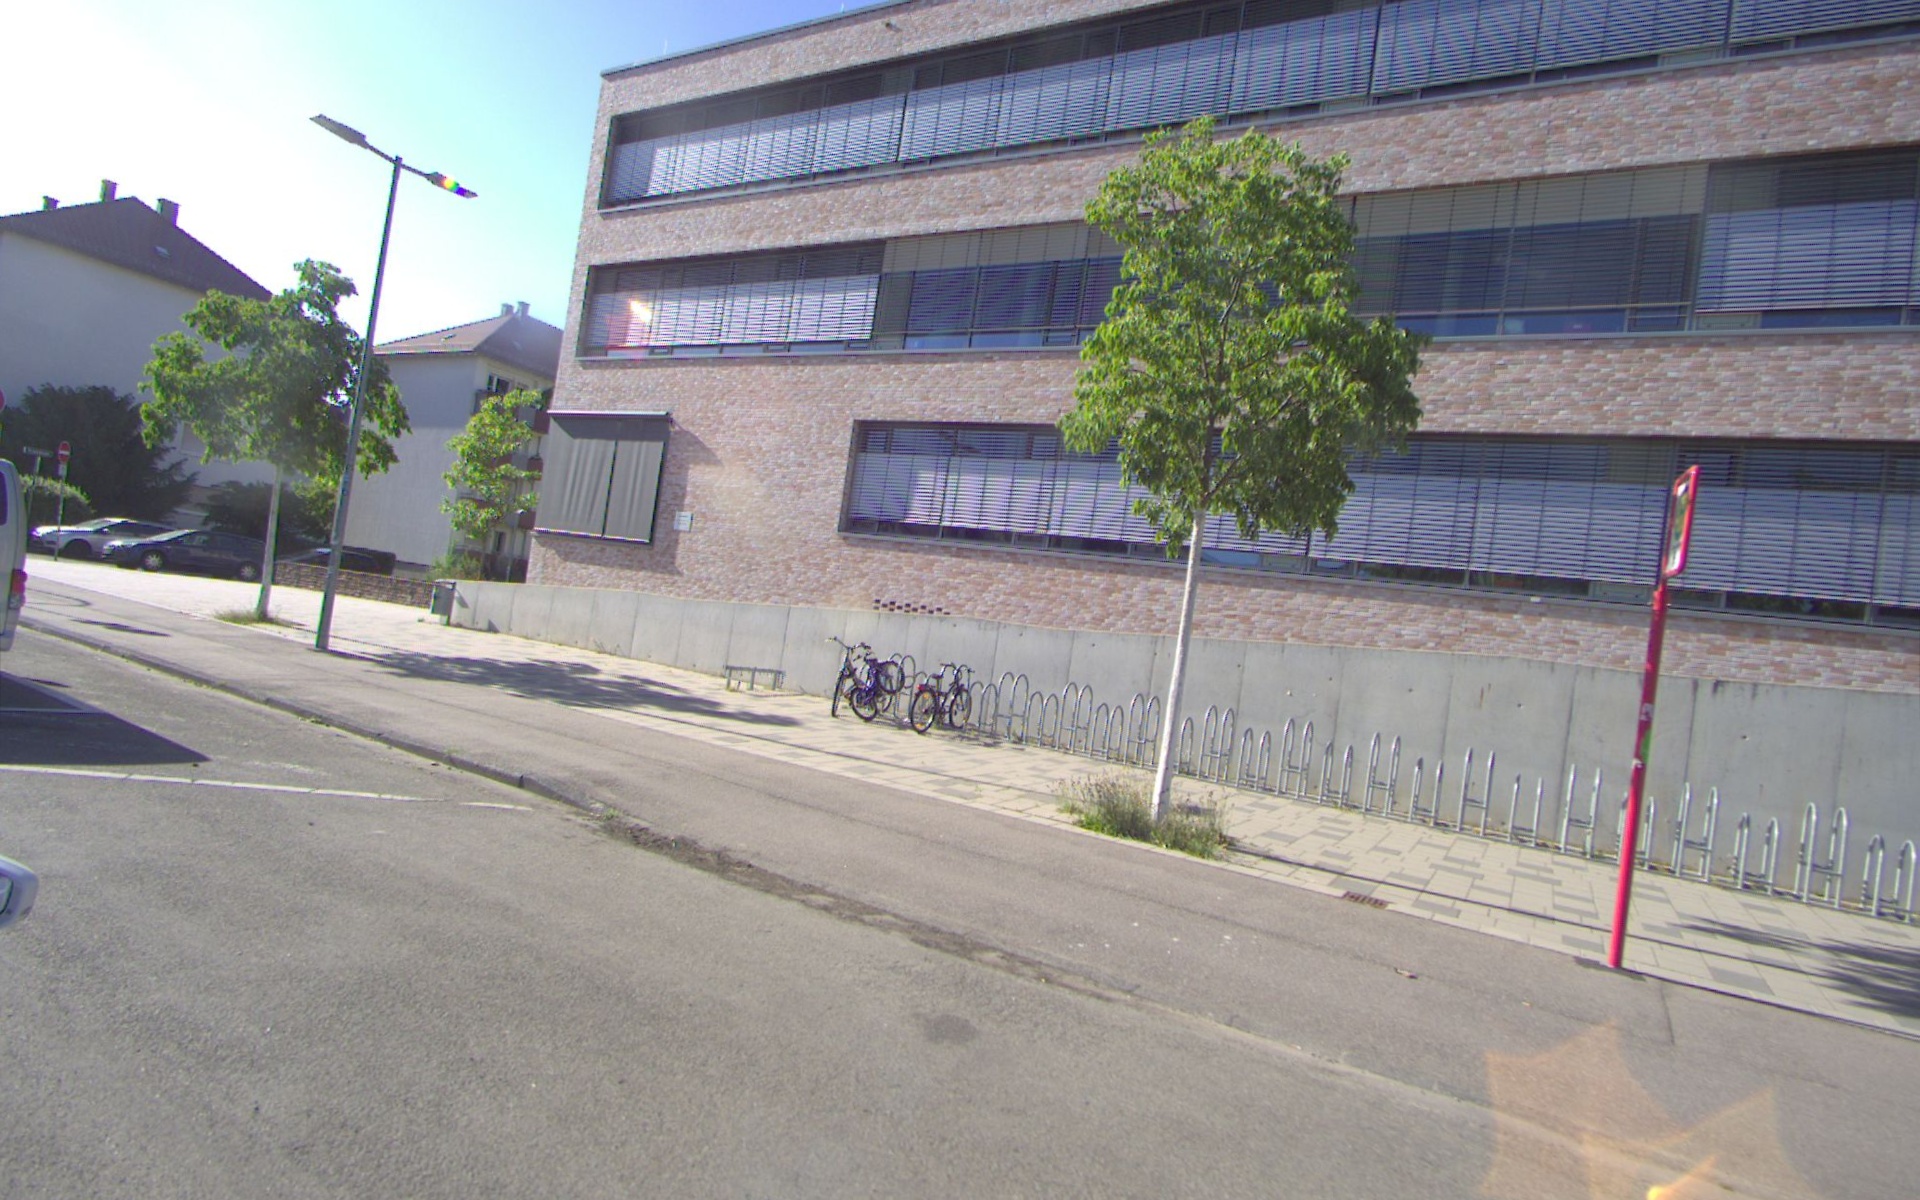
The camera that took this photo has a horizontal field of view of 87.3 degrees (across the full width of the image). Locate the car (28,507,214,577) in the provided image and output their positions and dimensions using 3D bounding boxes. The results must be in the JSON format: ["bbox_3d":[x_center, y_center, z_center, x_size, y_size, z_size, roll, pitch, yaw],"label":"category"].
[{"bbox_3d":[-28.812,-1.949,34.724,1.769,1.640,4.493,5,-3,29],"label":"car"}]

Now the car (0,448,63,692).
[{"bbox_3d":[-9.593,-0.512,8.501,4.342,1.875,1.798,7,-3,34],"label":"car"}]

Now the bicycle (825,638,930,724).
[{"bbox_3d":[-1.166,1.165,14.620,0.491,1.121,1.797,7,0,29],"label":"bicycle"}]

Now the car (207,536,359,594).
[{"bbox_3d":[-26.347,-1.338,39.311,1.769,1.557,4.493,5,-3,29],"label":"car"}]

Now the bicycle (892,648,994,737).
[{"bbox_3d":[-0.208,1.295,14.243,0.491,1.121,1.797,7,0,29],"label":"bicycle"}]

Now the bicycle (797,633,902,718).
[{"bbox_3d":[-1.605,1.112,14.886,0.491,1.121,1.797,7,0,29],"label":"bicycle"}]
